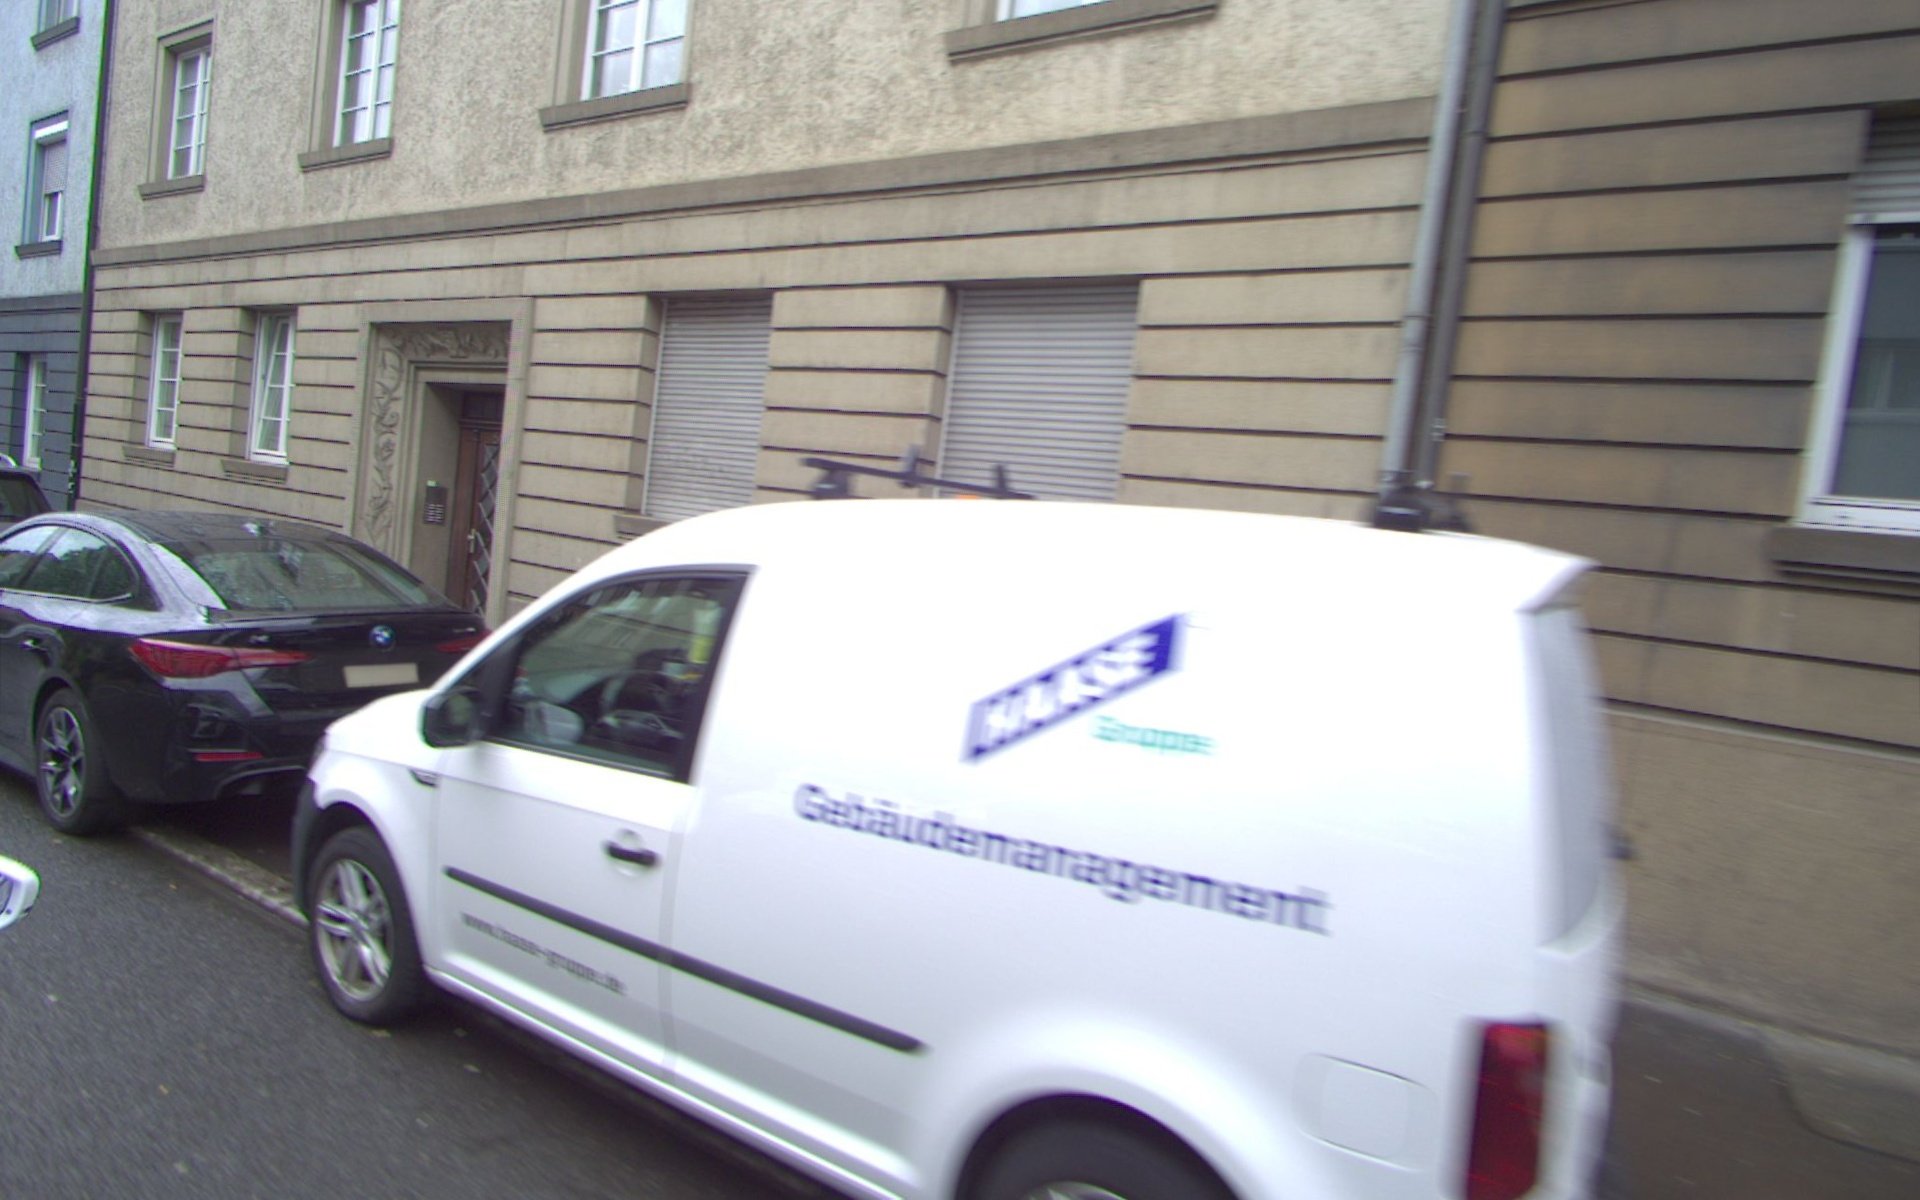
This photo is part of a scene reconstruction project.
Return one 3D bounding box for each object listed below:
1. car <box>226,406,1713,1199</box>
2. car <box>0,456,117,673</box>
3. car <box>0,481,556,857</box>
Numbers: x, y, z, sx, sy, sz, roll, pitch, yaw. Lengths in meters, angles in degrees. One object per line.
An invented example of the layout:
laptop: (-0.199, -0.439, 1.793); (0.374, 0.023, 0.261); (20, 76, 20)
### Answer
car: (-0.331, 0.482, 3.203); (4.011, 1.842, 1.790); (7, 3, 31)
car: (-9.144, -0.465, 8.455); (4.137, 1.643, 1.841); (6, 2, 30)
car: (-4.603, 0.124, 5.916); (4.313, 1.428, 1.841); (7, 3, 30)
